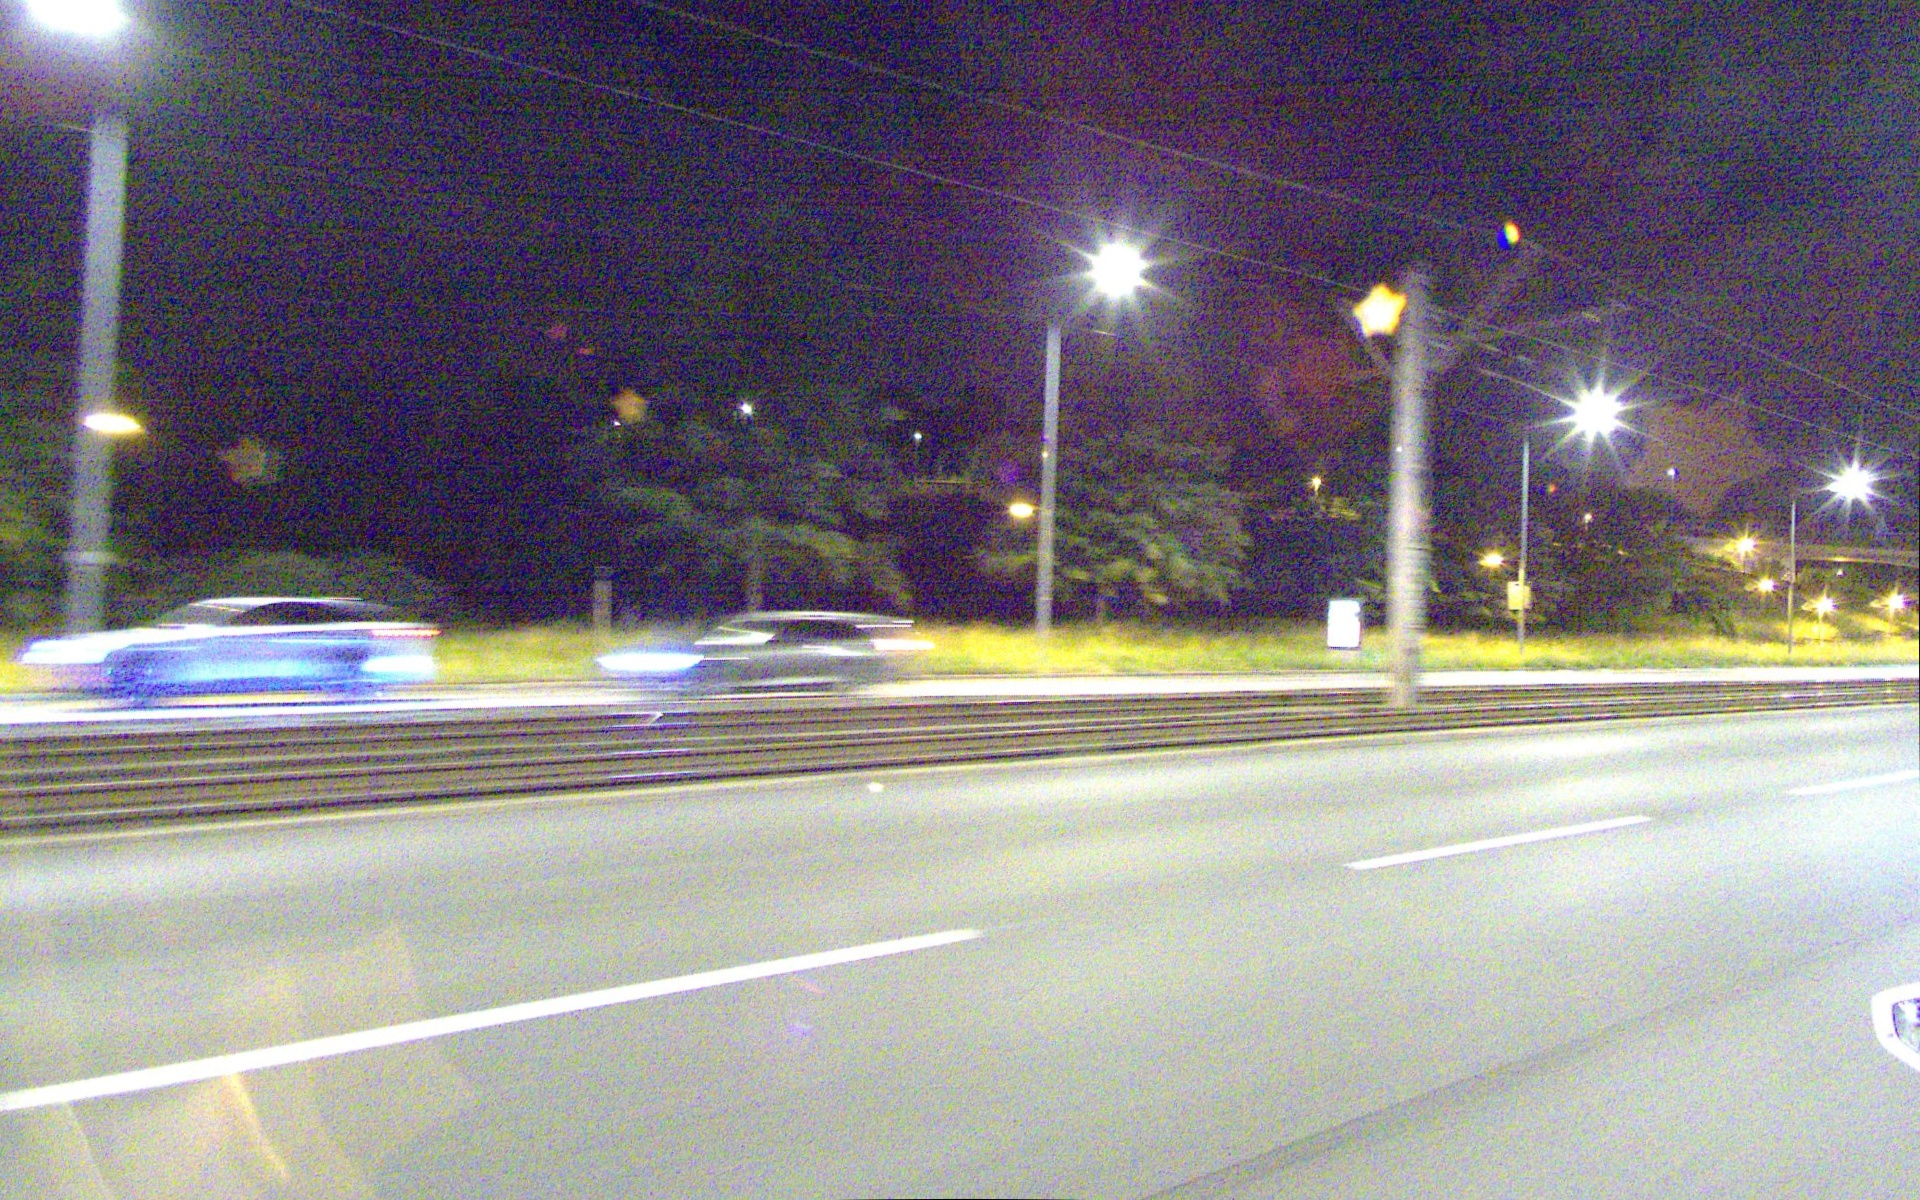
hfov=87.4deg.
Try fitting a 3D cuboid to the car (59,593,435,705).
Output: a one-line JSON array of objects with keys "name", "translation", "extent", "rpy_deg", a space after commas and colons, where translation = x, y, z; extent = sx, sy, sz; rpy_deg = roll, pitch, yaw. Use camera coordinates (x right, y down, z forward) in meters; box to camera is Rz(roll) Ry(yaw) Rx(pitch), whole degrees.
[{"name": "car", "translation": [-10.816, 0.733, 15.746], "extent": [4.556, 1.534, 1.855], "rpy_deg": [1, -2, -28]}]

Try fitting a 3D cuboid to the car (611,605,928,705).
[{"name": "car", "translation": [-3.122, 0.852, 16.819], "extent": [4.898, 1.448, 1.857], "rpy_deg": [1, 0, -30]}]
